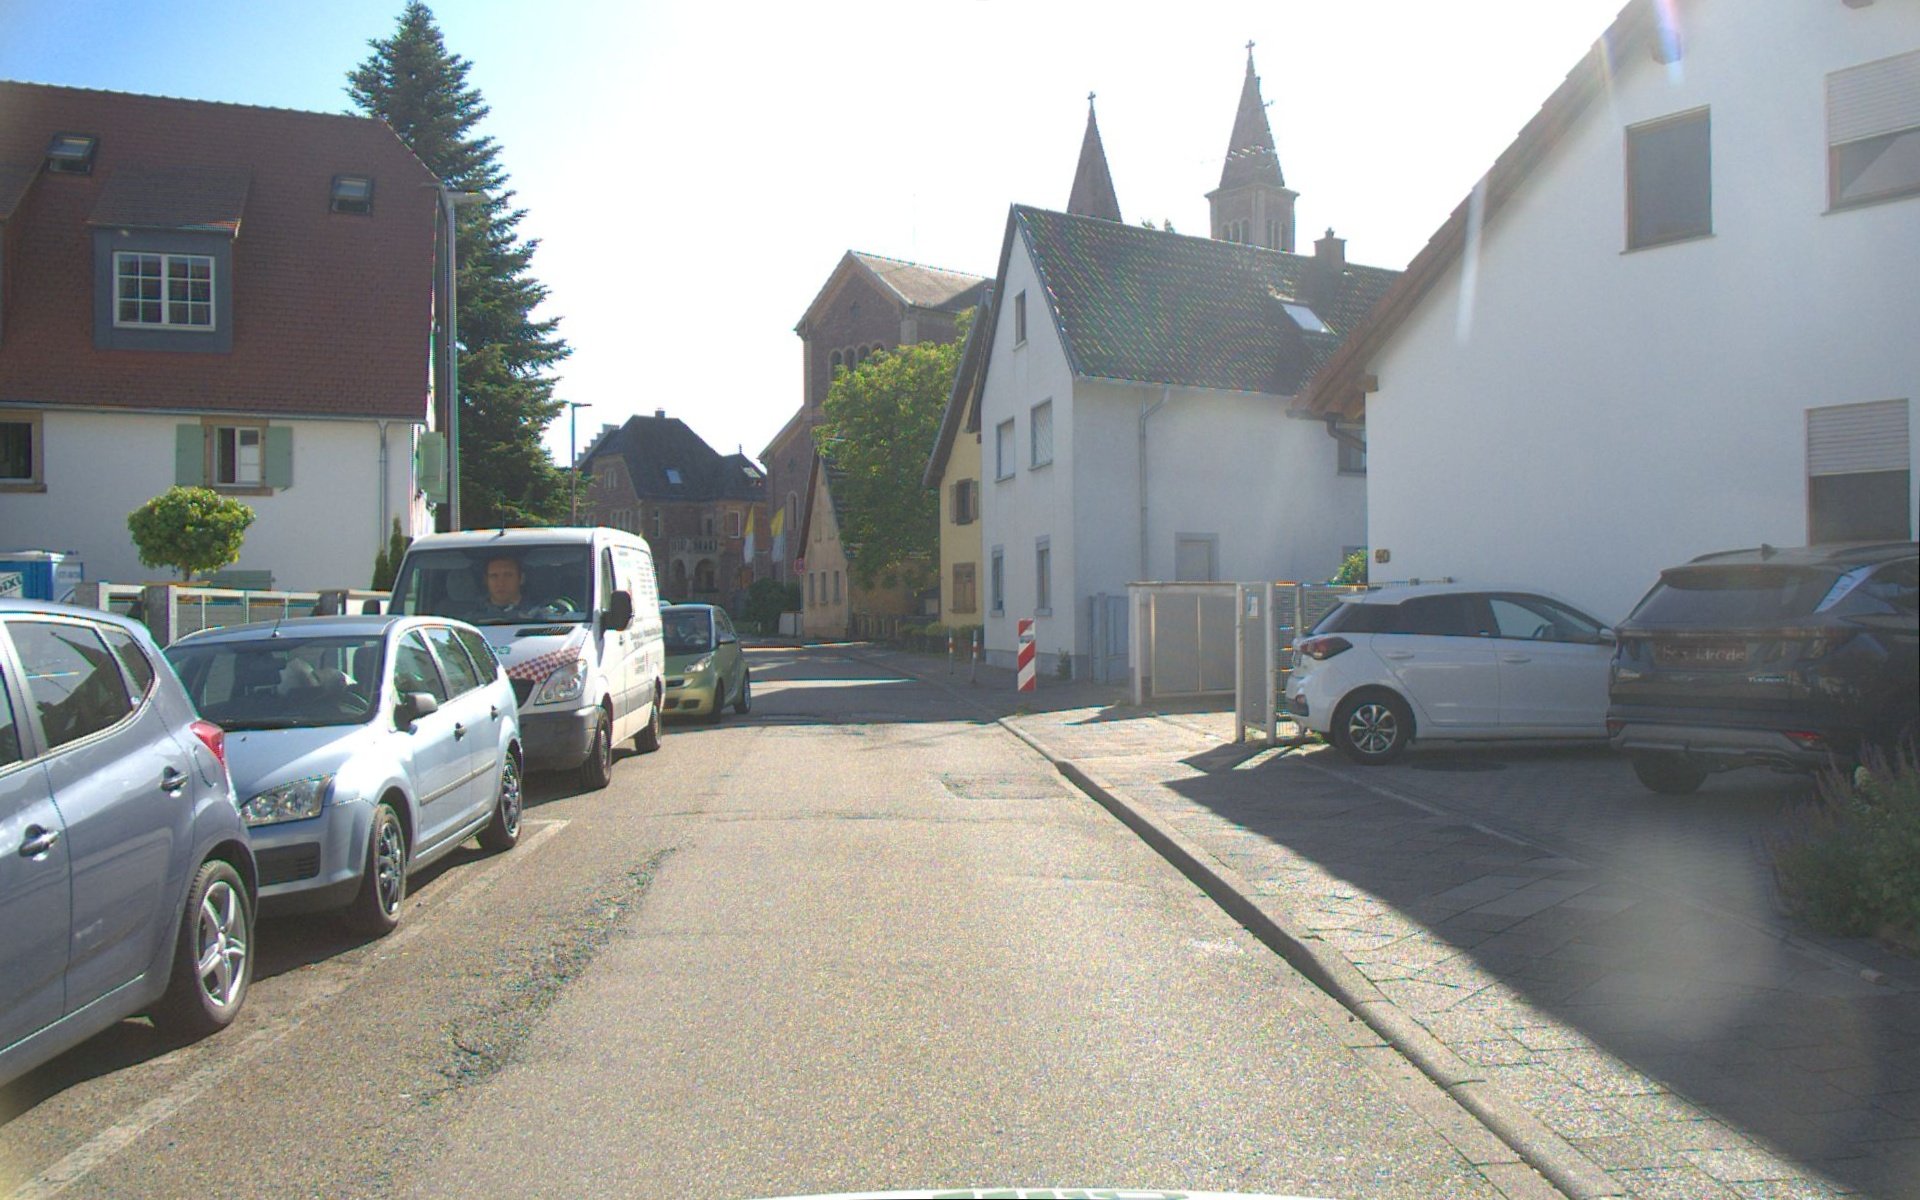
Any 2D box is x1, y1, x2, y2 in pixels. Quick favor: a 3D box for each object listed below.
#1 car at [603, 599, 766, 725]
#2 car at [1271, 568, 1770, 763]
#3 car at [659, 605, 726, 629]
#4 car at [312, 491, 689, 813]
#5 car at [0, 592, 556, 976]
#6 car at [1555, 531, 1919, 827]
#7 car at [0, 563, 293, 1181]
[{"bbox_3d":[-3.686,0.795,22.534,1.541,1.573,2.967,-1,0,3],"label":"car"},{"bbox_3d":[4.796,0.561,14.650,3.829,1.518,1.848,-2,-1,6],"label":"car"},{"bbox_3d":[-17.598,1.115,108.888,4.215,1.425,1.690,-1,0,-44],"label":"car"},{"bbox_3d":[-4.107,0.410,16.049,2.153,2.431,6.060,-3,0,-3],"label":"car"},{"bbox_3d":[-3.467,0.765,8.946,1.677,1.530,4.232,-2,0,-3],"label":"car"},{"bbox_3d":[6.232,0.420,11.463,3.996,1.718,1.891,-2,0,-31],"label":"car"},{"bbox_3d":[-3.397,0.743,4.525,1.680,1.626,3.923,-2,0,-3],"label":"car"}]
